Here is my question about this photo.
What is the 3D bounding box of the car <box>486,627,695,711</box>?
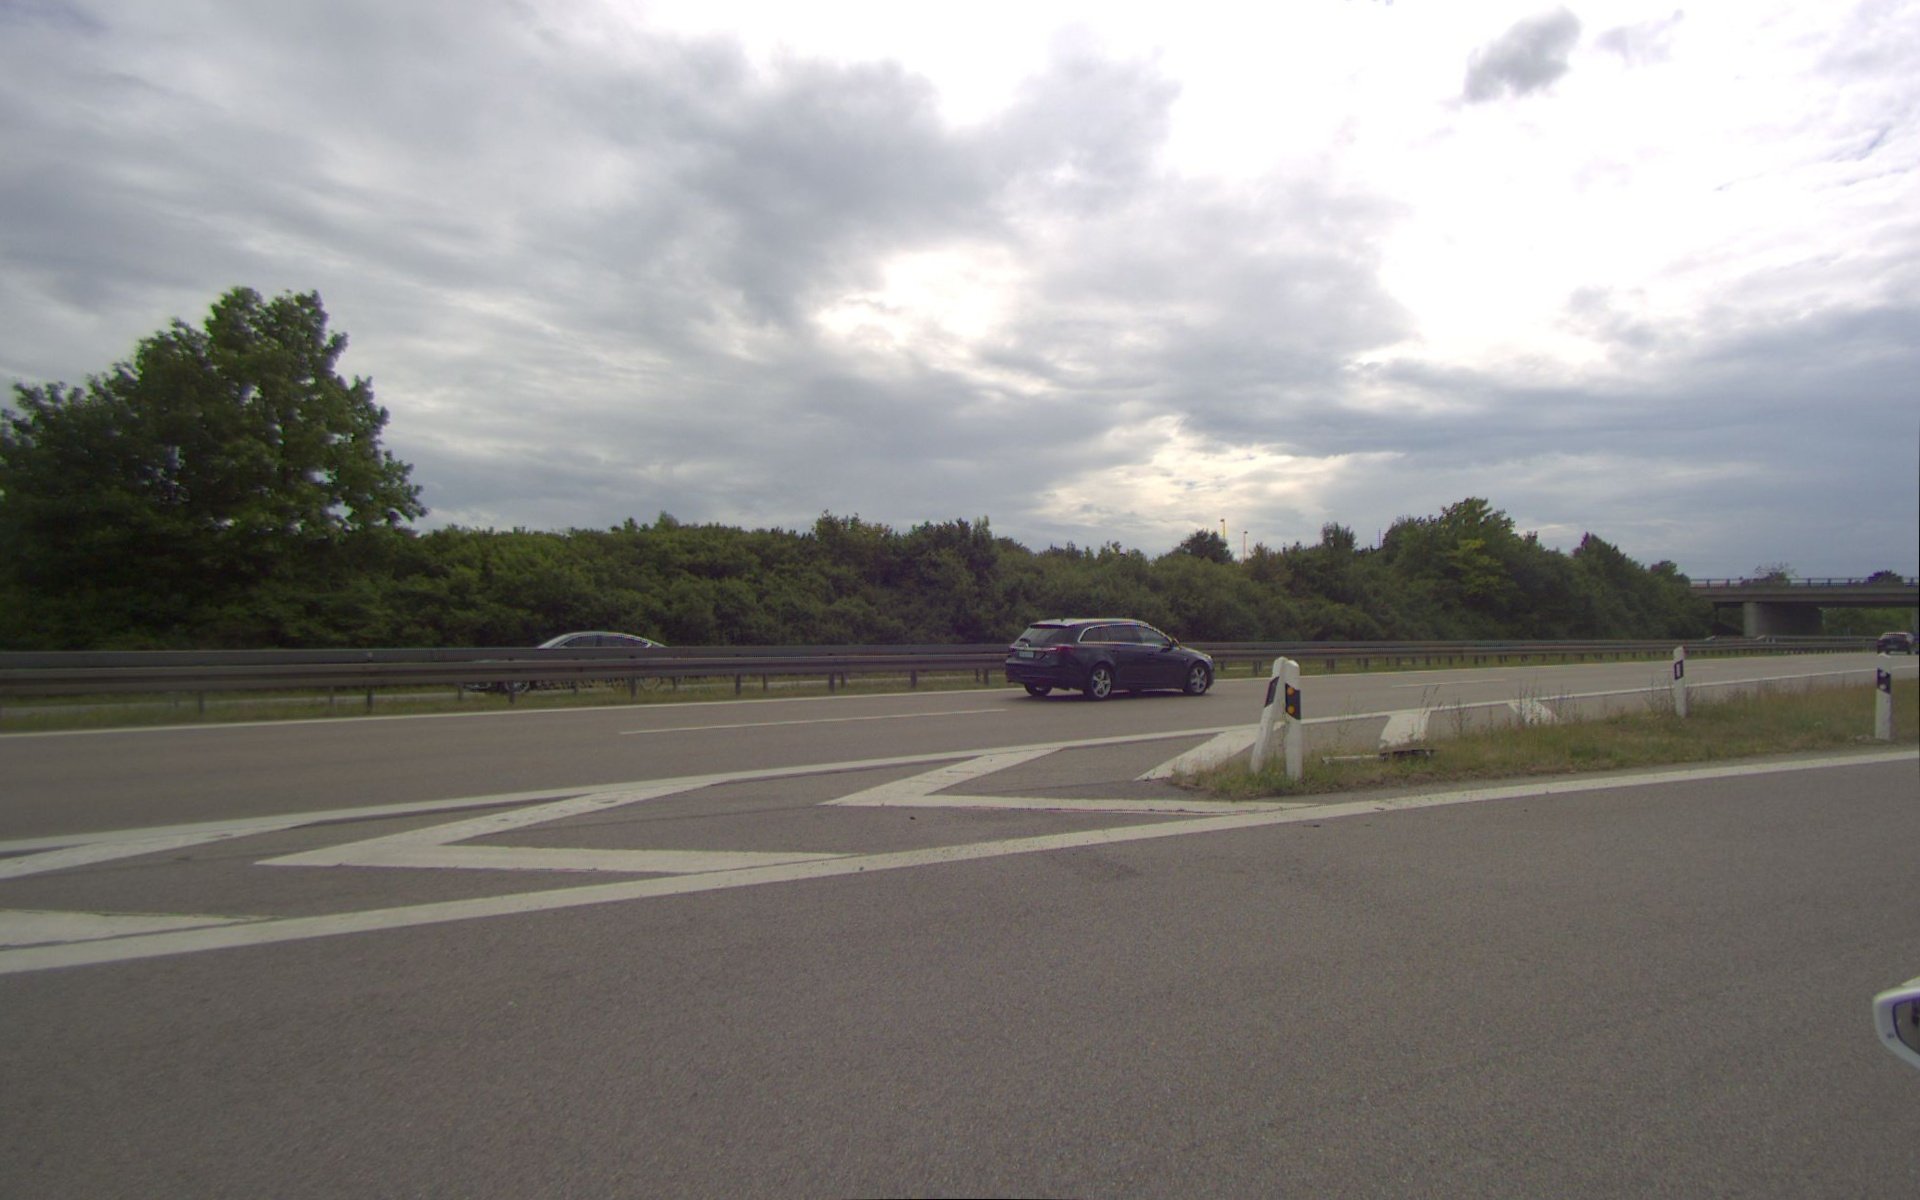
[{"bbox_3d":[-8.203,1.460,22.438,3.968,1.706,1.977,2,-2,-41],"label":"car"}]

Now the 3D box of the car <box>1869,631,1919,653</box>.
[{"bbox_3d":[62.373,2.800,67.028,4.266,1.417,1.767,2,-2,-37],"label":"car"}]

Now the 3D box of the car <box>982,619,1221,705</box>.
[{"bbox_3d":[2.779,1.118,19.063,4.755,1.442,1.709,2,-2,-38],"label":"car"}]
